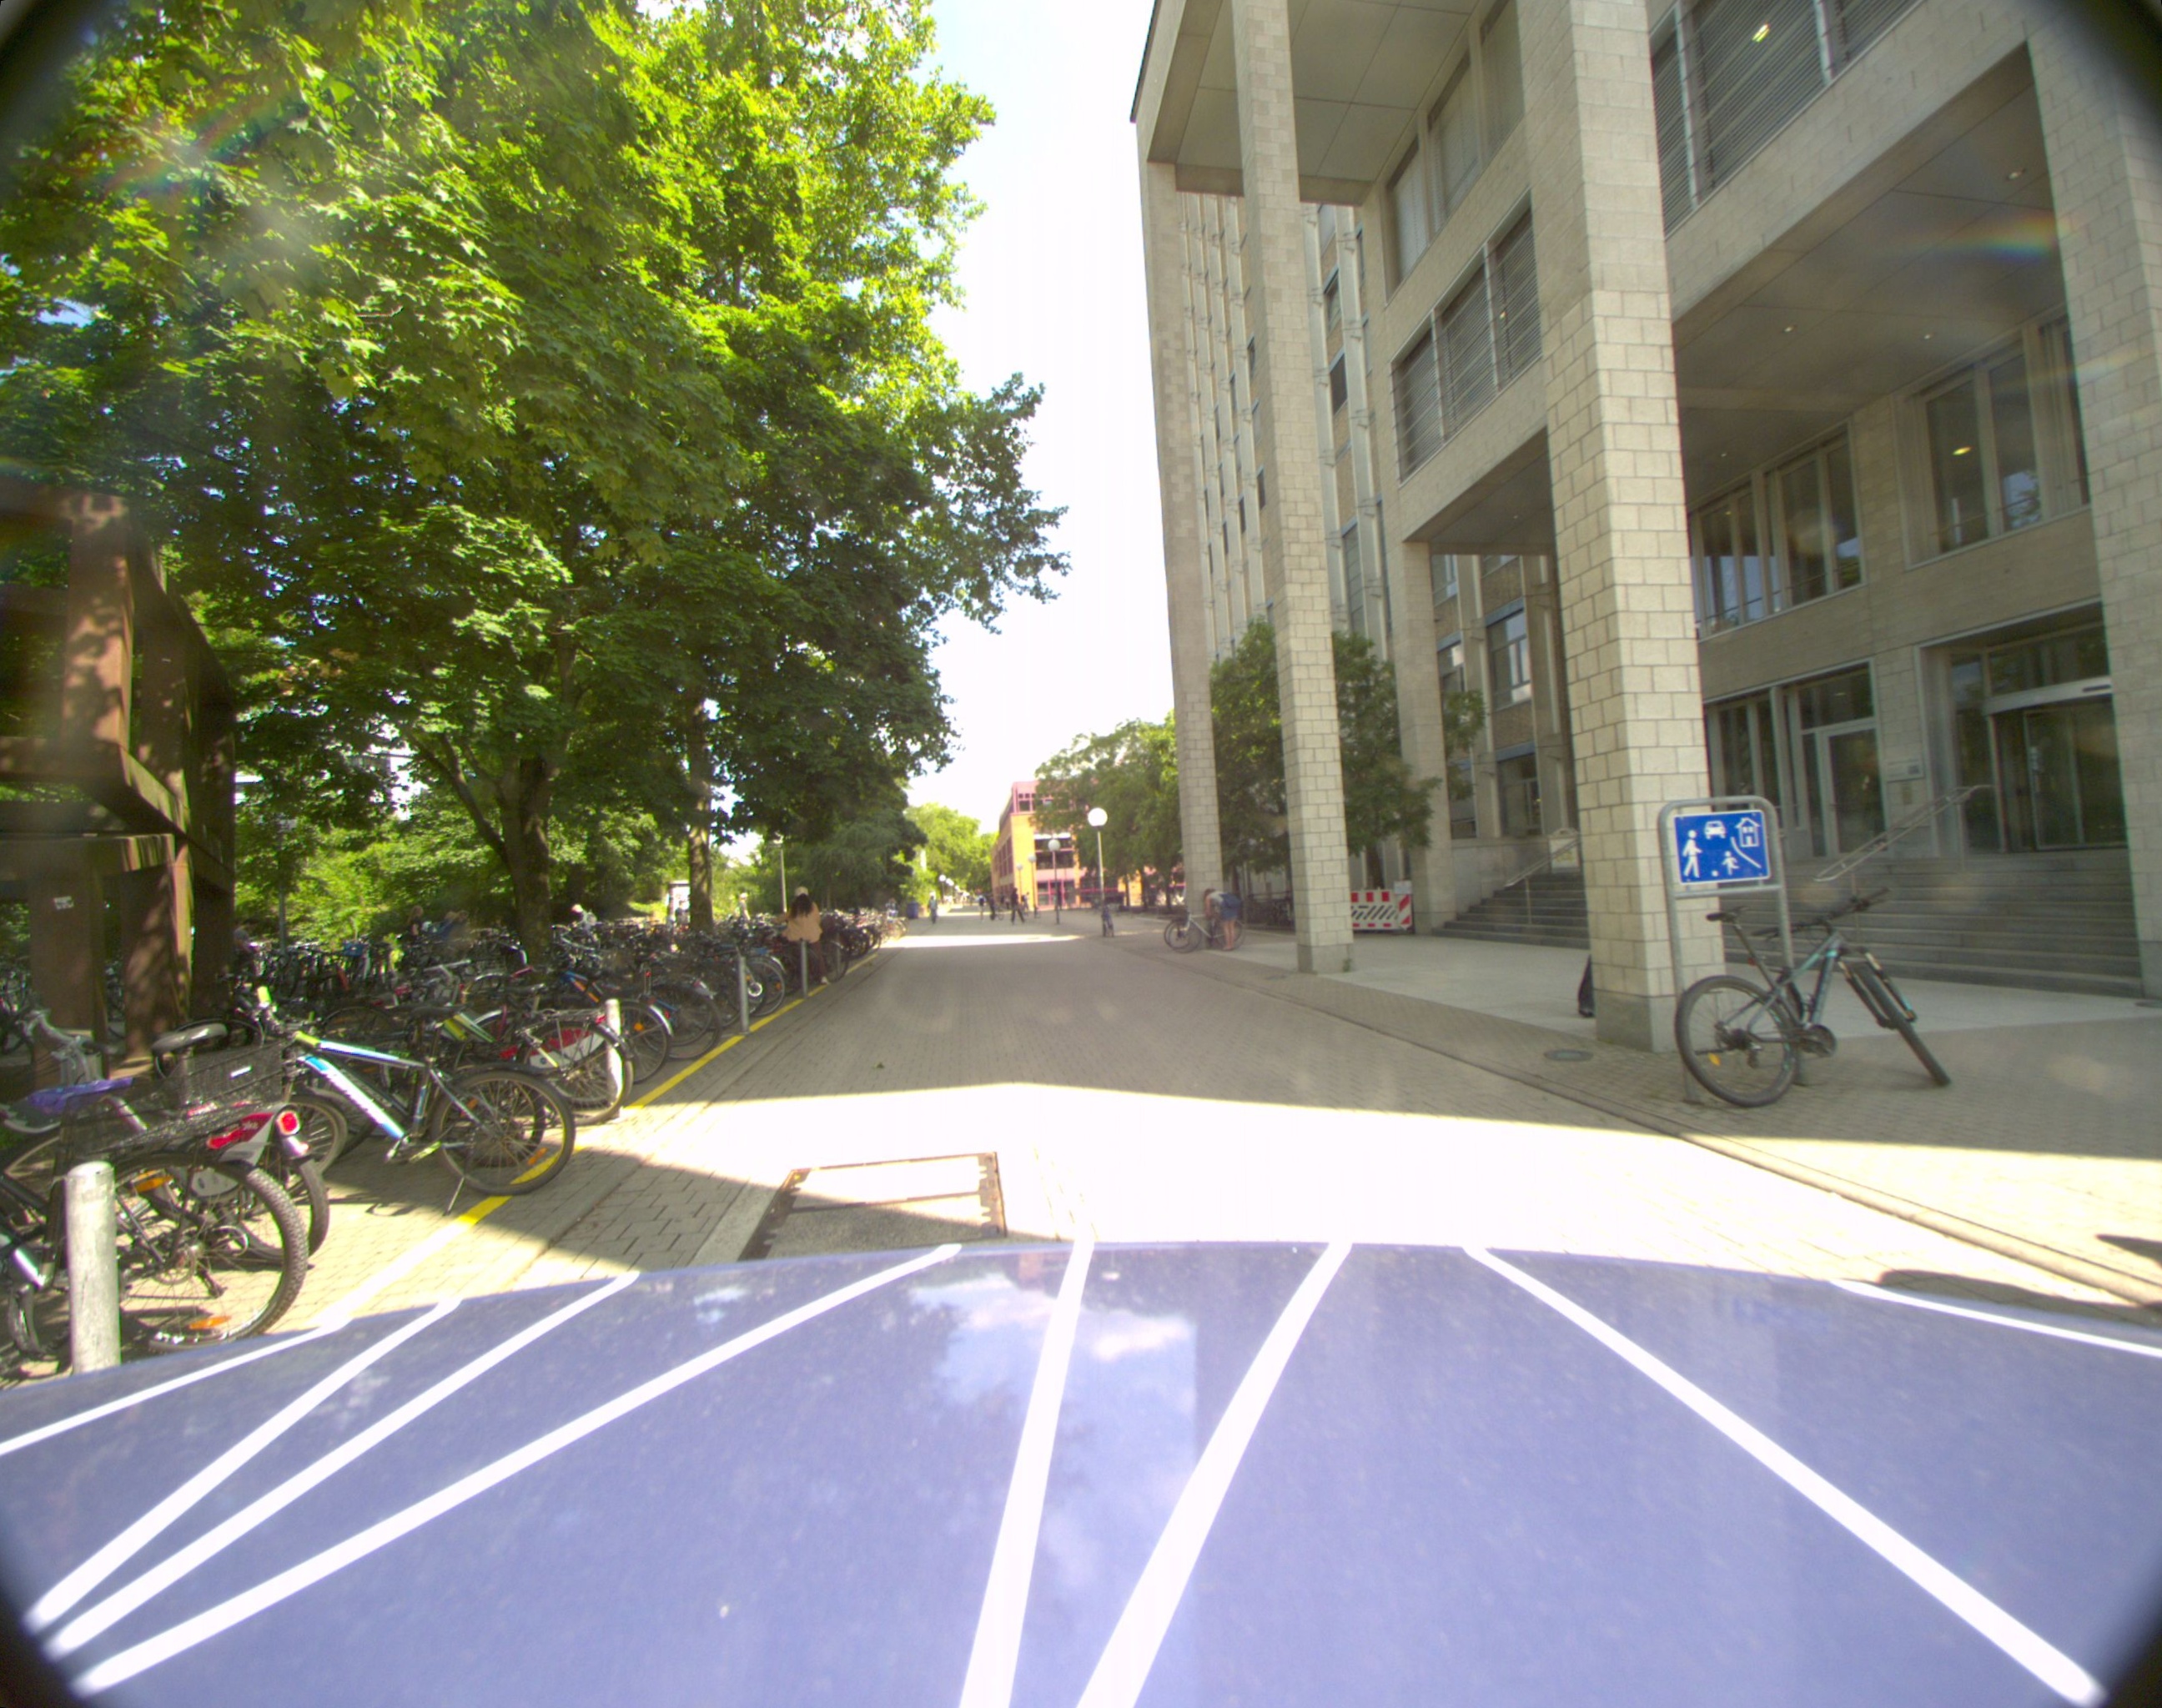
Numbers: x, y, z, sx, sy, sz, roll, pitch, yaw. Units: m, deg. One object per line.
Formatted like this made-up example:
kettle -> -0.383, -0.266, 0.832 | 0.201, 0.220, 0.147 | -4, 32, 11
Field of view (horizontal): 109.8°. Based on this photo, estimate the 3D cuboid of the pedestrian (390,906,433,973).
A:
pedestrian -> -18.660, 2.356, 21.172 | 0.743, 1.778, 0.722 | -4, -2, 38

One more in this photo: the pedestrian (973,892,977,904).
pedestrian -> -16.586, 6.848, 119.124 | 0.565, 1.753, 0.804 | -2, 1, -3

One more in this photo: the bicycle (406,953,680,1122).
bicycle -> -4.092, 1.384, 5.852 | 1.695, 1.118, 0.482 | -2, 0, -3

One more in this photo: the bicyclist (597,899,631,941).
bicyclist -> -16.698, 2.366, 27.166 | 0.743, 1.437, 0.805 | -4, -2, 39

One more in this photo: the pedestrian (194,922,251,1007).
pedestrian -> -19.076, 2.427, 16.896 | 0.722, 1.764, 0.655 | -2, -2, -40

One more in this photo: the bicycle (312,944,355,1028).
bicycle -> -12.028, 2.082, 12.247 | 0.437, 1.163, 1.841 | -2, -2, -44

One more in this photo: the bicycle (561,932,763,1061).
bicycle -> -4.300, 1.444, 7.898 | 1.696, 1.144, 0.627 | -2, 0, -7

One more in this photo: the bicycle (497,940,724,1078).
bicycle -> -4.384, 1.429, 7.167 | 1.695, 1.118, 0.628 | -2, 0, -3

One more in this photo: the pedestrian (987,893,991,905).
pedestrian -> -13.620, 6.668, 112.636 | 0.565, 1.753, 0.804 | -2, 1, -3

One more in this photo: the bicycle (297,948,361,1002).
bicycle -> -15.339, 2.445, 15.487 | 1.899, 0.973, 0.479 | -4, -1, 32

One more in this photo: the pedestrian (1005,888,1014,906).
pedestrian -> -7.223, 4.361, 76.972 | 0.744, 1.753, 0.974 | -2, 1, -9

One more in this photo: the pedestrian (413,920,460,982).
pedestrian -> -17.349, 2.599, 20.465 | 0.743, 1.559, 0.722 | -3, -2, 29

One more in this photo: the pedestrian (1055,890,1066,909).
pedestrian -> -1.652, 3.641, 60.959 | 0.691, 1.503, 0.514 | -2, 1, -10

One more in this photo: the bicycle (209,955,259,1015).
bicycle -> -16.194, 2.480, 14.514 | 1.899, 0.973, 0.479 | -4, -1, 38

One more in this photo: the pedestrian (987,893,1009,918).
pedestrian -> -5.301, 3.267, 48.654 | 0.727, 1.503, 1.209 | -1, 1, 36

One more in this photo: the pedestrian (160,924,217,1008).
pedestrian -> -20.099, 2.490, 17.122 | 0.722, 1.764, 0.743 | -1, -2, -42

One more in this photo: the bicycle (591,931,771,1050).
bicycle -> -4.450, 1.492, 8.563 | 1.697, 1.143, 0.627 | -1, -4, -17

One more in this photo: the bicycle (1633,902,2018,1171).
bicycle -> 4.236, 0.972, 4.355 | 1.830, 1.234, 0.531 | -4, -1, -10

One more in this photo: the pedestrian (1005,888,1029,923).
pedestrian -> -3.339, 2.660, 39.509 | 0.742, 1.753, 0.976 | -1, 1, 31

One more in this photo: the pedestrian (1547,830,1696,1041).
pedestrian -> 4.752, 0.689, 6.722 | 0.685, 1.723, 0.689 | -3, -2, -13

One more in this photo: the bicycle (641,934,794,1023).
bicycle -> -4.766, 1.621, 10.016 | 1.695, 1.040, 0.618 | -3, -4, -1

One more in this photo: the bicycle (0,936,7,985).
bicycle -> -24.712, 2.433, 17.025 | 1.607, 1.087, 0.479 | -4, -1, 44

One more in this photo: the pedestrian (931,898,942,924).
pedestrian -> -8.722, 3.447, 45.913 | 0.515, 1.503, 0.691 | -2, 1, -7

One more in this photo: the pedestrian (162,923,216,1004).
pedestrian -> -20.756, 2.516, 17.687 | 0.722, 1.764, 0.743 | -1, -2, -44

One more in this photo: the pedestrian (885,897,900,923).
pedestrian -> -11.496, 3.415, 46.361 | 0.689, 1.503, 0.516 | -1, 1, 38

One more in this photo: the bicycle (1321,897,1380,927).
bicycle -> 7.685, 1.639, 21.760 | 0.644, 0.755, 1.988 | -2, -1, -11

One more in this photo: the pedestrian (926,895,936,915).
pedestrian -> -11.496, 3.894, 58.349 | 0.691, 1.503, 0.514 | -2, 1, -10

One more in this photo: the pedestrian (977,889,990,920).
pedestrian -> -5.701, 2.946, 44.389 | 0.565, 1.753, 0.803 | -3, 1, -16

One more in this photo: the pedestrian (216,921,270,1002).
pedestrian -> -19.408, 2.459, 17.616 | 0.722, 1.764, 0.743 | -2, -2, -39

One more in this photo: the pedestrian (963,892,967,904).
pedestrian -> -18.191, 6.908, 119.227 | 0.565, 1.753, 0.804 | -2, 1, -3

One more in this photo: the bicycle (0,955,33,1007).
bicycle -> -24.598, 2.895, 17.412 | 1.607, 1.087, 0.479 | -4, -1, 30

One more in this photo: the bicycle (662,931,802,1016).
bicycle -> -4.885, 1.656, 10.729 | 1.689, 1.040, 0.617 | -2, -4, -14

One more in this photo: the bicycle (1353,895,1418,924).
bicycle -> 8.818, 1.592, 22.103 | 0.644, 0.755, 1.988 | -2, -1, -16

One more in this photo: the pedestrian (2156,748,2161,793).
pedestrian -> 3.602, 0.584, 1.907 | 0.686, 1.879, 0.687 | -4, -2, -11

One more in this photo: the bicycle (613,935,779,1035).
bicycle -> -4.613, 1.553, 9.206 | 1.697, 1.040, 0.568 | -2, -4, -16

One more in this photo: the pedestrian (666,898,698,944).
pedestrian -> -14.275, 2.381, 27.192 | 0.744, 1.559, 0.721 | -3, -1, -1

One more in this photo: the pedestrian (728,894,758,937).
pedestrian -> -12.691, 2.302, 28.559 | 0.744, 1.559, 0.721 | -3, -1, -1

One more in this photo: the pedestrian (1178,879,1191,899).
pedestrian -> 9.098, 3.081, 67.058 | 0.973, 1.753, 0.745 | -2, 1, 17

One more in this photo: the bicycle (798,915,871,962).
bicycle -> -6.152, 2.110, 19.033 | 1.689, 1.076, 0.478 | -2, -4, -13

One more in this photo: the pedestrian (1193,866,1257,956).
pedestrian -> 2.908, 1.146, 15.406 | 0.750, 1.729, 0.936 | -3, -2, -28

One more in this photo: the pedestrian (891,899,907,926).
pedestrian -> -10.596, 3.421, 44.215 | 0.689, 1.503, 0.516 | -1, 1, 38

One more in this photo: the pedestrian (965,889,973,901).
pedestrian -> -16.152, 5.943, 109.749 | 0.805, 1.753, 0.666 | -3, 1, -32

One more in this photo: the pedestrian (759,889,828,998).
pedestrian -> -4.690, 1.449, 12.432 | 0.945, 1.692, 0.428 | -2, -3, -13

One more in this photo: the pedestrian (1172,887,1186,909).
pedestrian -> 8.057, 3.610, 62.731 | 0.973, 1.753, 0.745 | -2, 1, 17

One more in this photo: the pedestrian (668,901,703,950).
pedestrian -> -13.123, 2.355, 25.230 | 0.744, 1.559, 0.721 | -3, -1, -1

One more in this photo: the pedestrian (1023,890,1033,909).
pedestrian -> -4.333, 3.732, 62.009 | 0.691, 1.503, 0.514 | -2, 1, -10

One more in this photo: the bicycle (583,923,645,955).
bicycle -> -16.669, 3.020, 27.170 | 0.585, 0.926, 1.756 | -1, 1, 39

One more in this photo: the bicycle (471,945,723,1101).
bicycle -> -4.007, 1.385, 6.376 | 1.695, 1.118, 0.566 | -2, 0, -3

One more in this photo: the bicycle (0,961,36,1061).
bicycle -> -14.265, 2.050, 9.981 | 1.840, 1.163, 0.414 | -4, -2, 43

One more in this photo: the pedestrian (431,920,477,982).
pedestrian -> -16.609, 2.547, 20.127 | 0.743, 1.559, 0.722 | -4, -2, 33
